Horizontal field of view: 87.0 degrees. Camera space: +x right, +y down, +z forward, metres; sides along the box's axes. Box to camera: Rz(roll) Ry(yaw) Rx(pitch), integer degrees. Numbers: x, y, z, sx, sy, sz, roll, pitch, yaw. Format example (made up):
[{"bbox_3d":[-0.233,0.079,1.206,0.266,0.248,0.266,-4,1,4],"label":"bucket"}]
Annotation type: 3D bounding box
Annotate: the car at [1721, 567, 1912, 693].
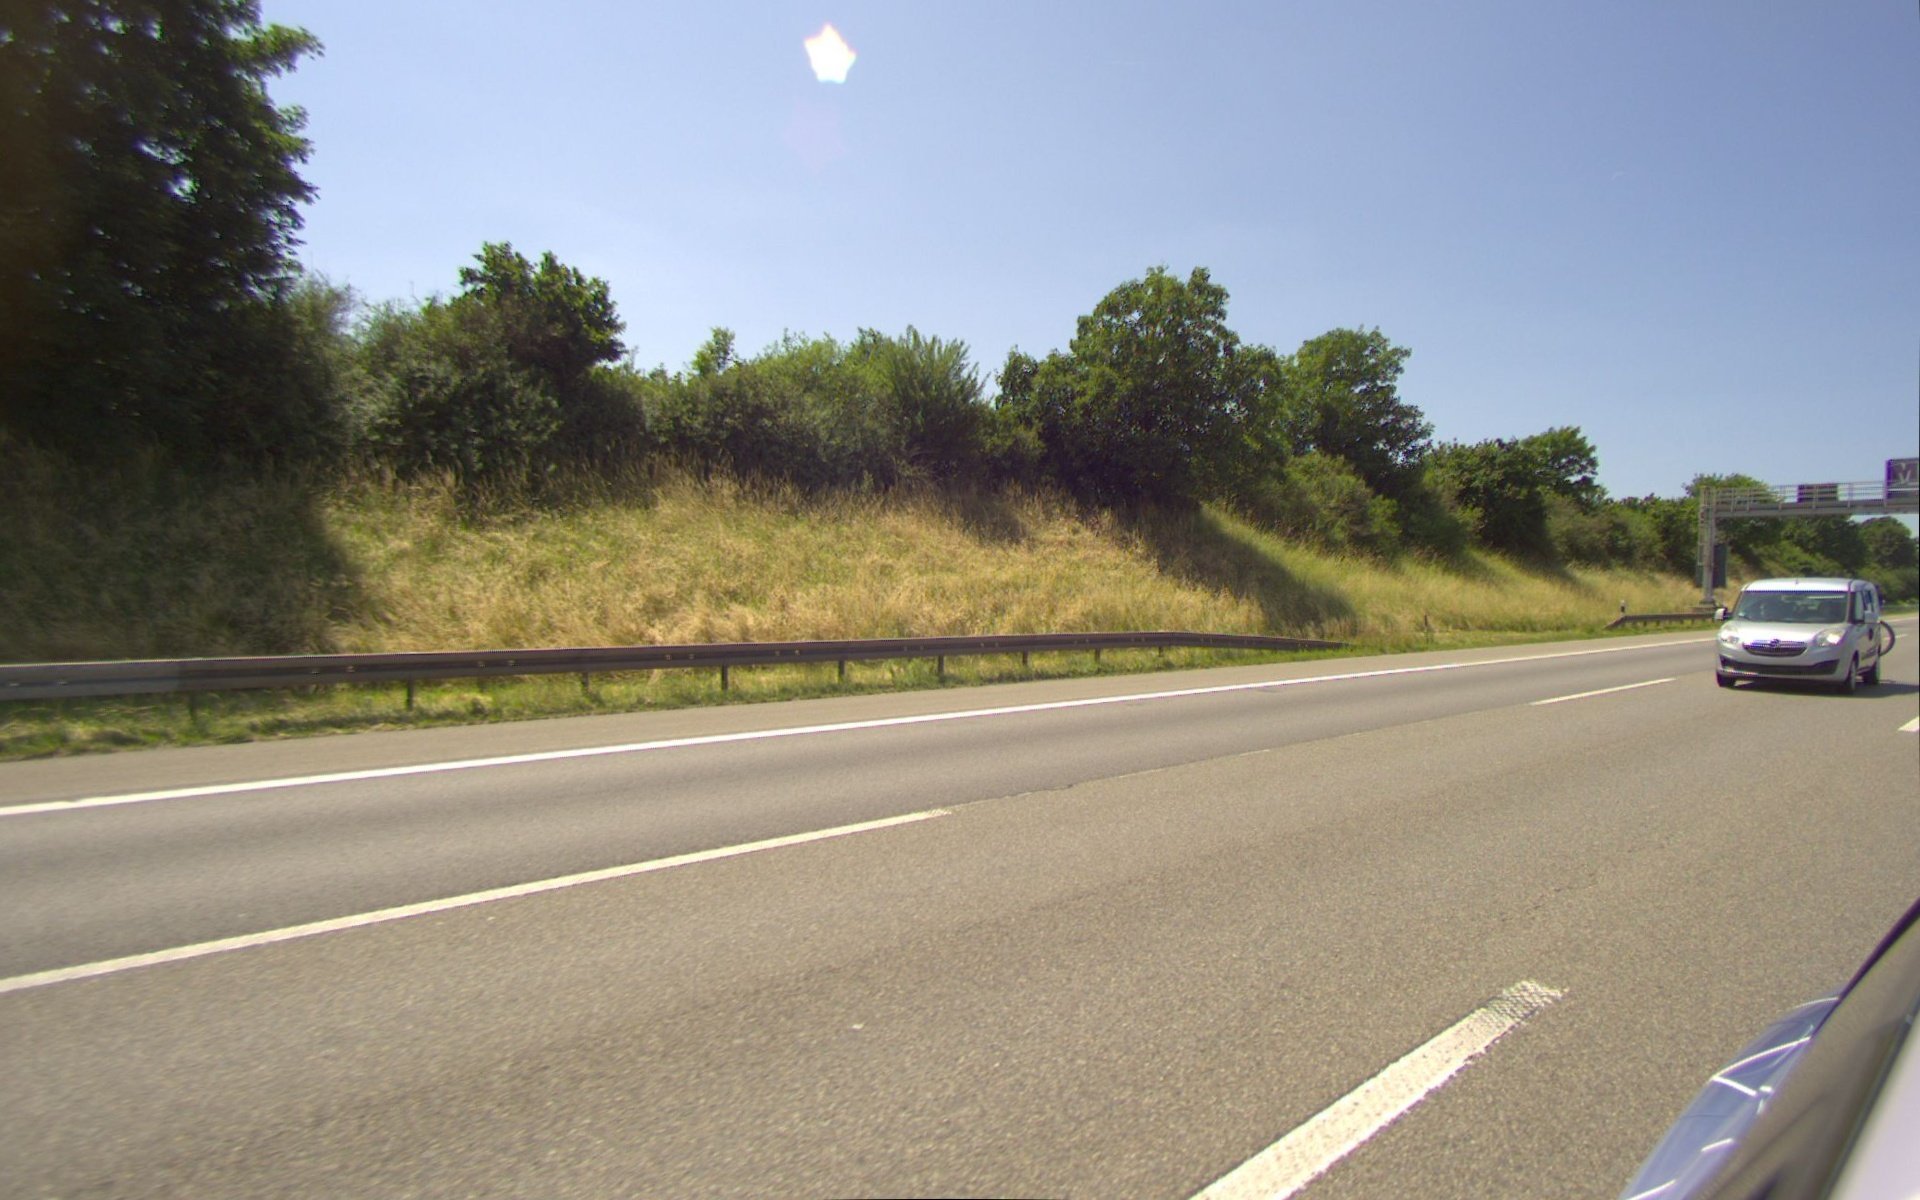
[{"bbox_3d":[14.861,0.435,17.432,5.220,1.870,1.810,0,1,-42],"label":"car"}]
